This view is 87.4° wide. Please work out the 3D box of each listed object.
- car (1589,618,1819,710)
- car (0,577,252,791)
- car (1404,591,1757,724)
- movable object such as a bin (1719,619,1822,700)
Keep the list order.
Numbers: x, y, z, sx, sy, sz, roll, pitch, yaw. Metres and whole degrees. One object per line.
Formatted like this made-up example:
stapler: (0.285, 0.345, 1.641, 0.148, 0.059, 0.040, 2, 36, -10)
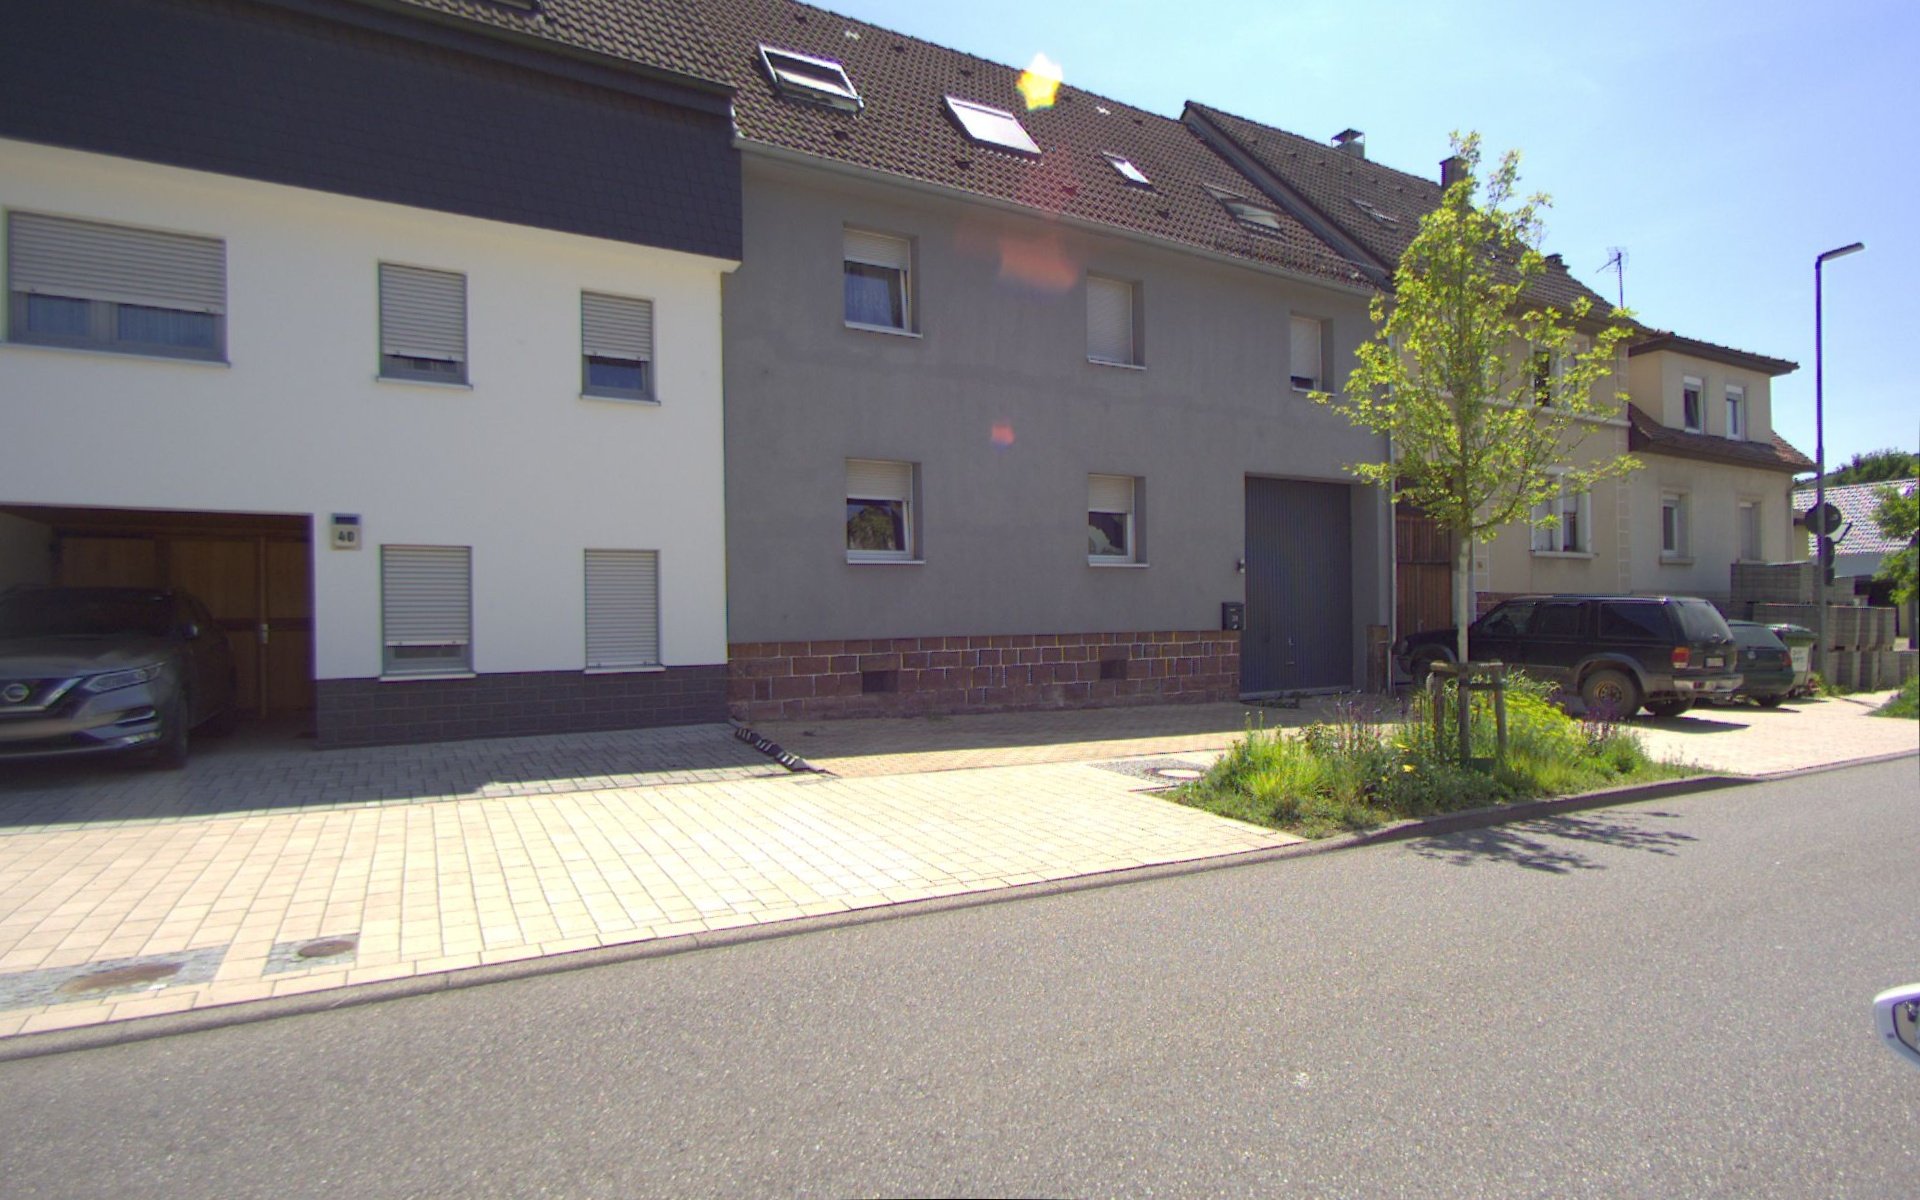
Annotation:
car: (13.015, 1.058, 17.848, 1.664, 1.458, 3.553, 0, -1, 5)
car: (-7.847, 0.614, 9.164, 1.810, 1.566, 3.970, 1, 0, -29)
car: (9.472, 0.795, 15.736, 1.856, 1.774, 4.374, 1, -1, -30)
movable object such as a bin: (14.798, 1.055, 18.348, 1.385, 1.337, 0.986, -2, 1, -26)
